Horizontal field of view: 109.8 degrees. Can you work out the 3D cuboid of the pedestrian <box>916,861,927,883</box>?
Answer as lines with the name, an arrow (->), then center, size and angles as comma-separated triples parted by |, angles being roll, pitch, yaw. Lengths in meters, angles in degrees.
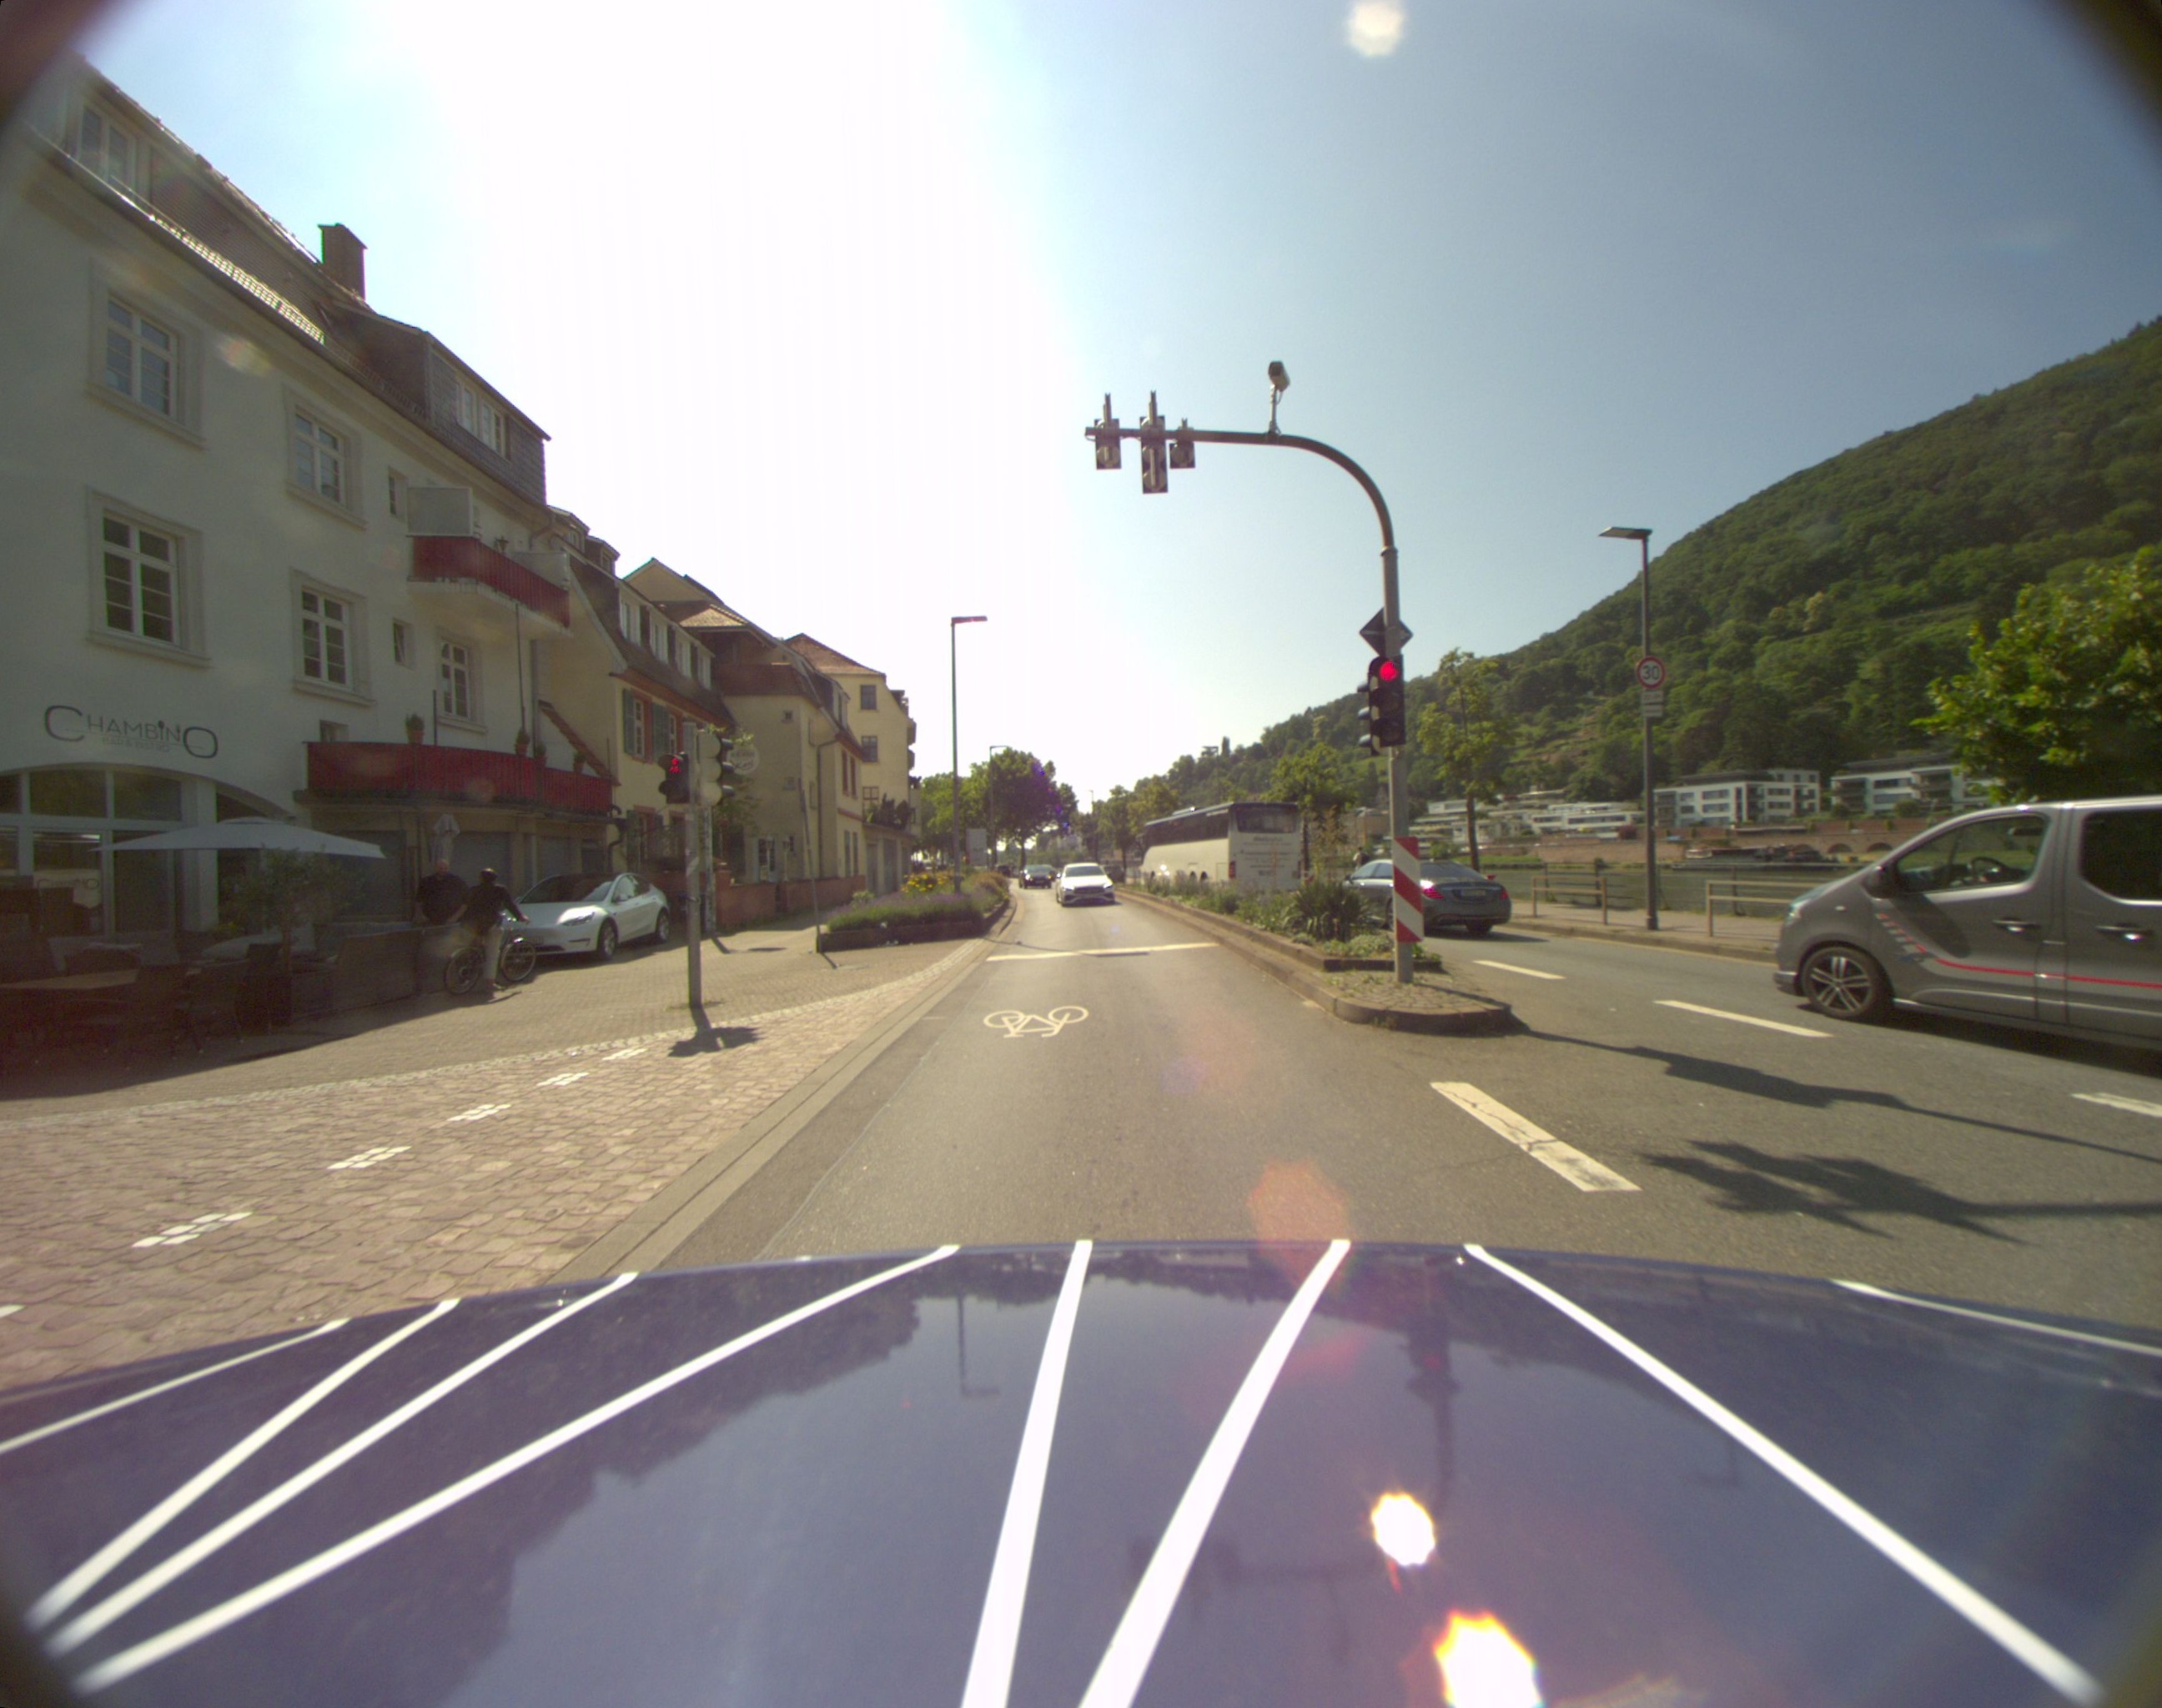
pedestrian -> -12.807, 1.451, 61.036 | 0.764, 1.703, 0.695 | 2, 0, -14

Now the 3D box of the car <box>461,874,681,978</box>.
car -> -9.793, 1.273, 15.137 | 1.884, 1.568, 4.722 | -2, 0, -11

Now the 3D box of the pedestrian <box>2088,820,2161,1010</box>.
pedestrian -> 10.669, 0.575, 7.419 | 0.764, 1.794, 0.695 | -4, 1, -10

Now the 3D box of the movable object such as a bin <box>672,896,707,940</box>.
movable object such as a bin -> -9.611, 1.567, 18.665 | 0.642, 1.061, 0.364 | -1, 1, -1

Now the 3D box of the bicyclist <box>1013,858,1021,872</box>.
bicyclist -> -7.751, 1.351, 92.049 | 0.743, 1.657, 1.088 | -1, 0, -16

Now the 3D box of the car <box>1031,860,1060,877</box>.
car -> -3.129, 1.253, 66.503 | 1.820, 1.420, 4.306 | 0, -1, -12

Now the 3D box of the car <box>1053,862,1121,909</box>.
car -> 0.109, 1.055, 27.173 | 1.876, 1.415, 4.743 | -4, 0, -6

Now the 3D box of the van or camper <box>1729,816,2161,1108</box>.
van or camper -> 7.845, 0.681, 5.288 | 1.999, 1.862, 5.177 | 0, 0, -5

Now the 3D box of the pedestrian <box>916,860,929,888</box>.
pedestrian -> -9.645, 1.204, 46.355 | 0.740, 1.688, 0.933 | -1, 0, -10

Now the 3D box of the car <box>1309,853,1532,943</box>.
car -> 6.921, 0.817, 16.278 | 2.000, 1.589, 5.154 | 2, 0, -6

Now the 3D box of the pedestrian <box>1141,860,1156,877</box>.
pedestrian -> 5.370, 1.148, 60.449 | 0.939, 1.273, 0.849 | -1, 0, -9

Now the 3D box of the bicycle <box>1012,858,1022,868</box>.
bicycle -> -7.764, 1.120, 92.058 | 0.714, 1.161, 1.893 | -2, 0, -16

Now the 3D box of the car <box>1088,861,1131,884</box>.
car -> 1.768, 1.152, 48.150 | 1.823, 1.421, 4.189 | 0, -1, -11

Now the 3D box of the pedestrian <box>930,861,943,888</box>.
pedestrian -> -8.818, 1.247, 46.407 | 0.764, 1.586, 0.695 | -2, 0, -10

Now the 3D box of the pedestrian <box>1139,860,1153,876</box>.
pedestrian -> 5.227, 1.151, 61.350 | 0.939, 1.273, 0.849 | -1, 0, -9

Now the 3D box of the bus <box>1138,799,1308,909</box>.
bus -> 5.146, -0.055, 31.264 | 2.640, 3.543, 12.971 | -1, 1, -9

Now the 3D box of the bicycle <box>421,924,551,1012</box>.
bicycle -> -8.443, 1.575, 10.885 | 0.752, 0.958, 1.780 | -2, 0, -14

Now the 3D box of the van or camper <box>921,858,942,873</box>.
van or camper -> -23.772, 1.808, 120.831 | 2.441, 2.271, 6.194 | -1, 0, -18

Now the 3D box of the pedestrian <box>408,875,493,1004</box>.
pedestrian -> -9.387, 1.248, 11.336 | 0.764, 1.847, 0.609 | 0, 0, -10

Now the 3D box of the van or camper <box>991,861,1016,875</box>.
van or camper -> -8.709, 1.550, 84.689 | 2.001, 1.446, 4.676 | 1, 0, -15

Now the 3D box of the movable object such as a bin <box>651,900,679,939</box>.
movable object such as a bin -> -10.205, 1.605, 18.653 | 0.496, 0.938, 0.320 | -1, 1, -1

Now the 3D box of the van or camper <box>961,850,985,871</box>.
van or camper -> -14.400, 0.837, 100.660 | 2.095, 2.542, 7.081 | -2, 0, -17

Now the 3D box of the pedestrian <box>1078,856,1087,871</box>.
pedestrian -> 0.202, 1.048, 83.054 | 0.759, 1.673, 0.657 | -2, 1, -17

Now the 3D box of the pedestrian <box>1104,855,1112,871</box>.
pedestrian -> 2.814, 0.947, 78.186 | 0.696, 1.606, 0.663 | -1, 1, -10

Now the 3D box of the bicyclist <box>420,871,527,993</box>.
bicyclist -> -8.445, 1.038, 10.614 | 0.769, 1.574, 1.088 | -1, 0, -16
